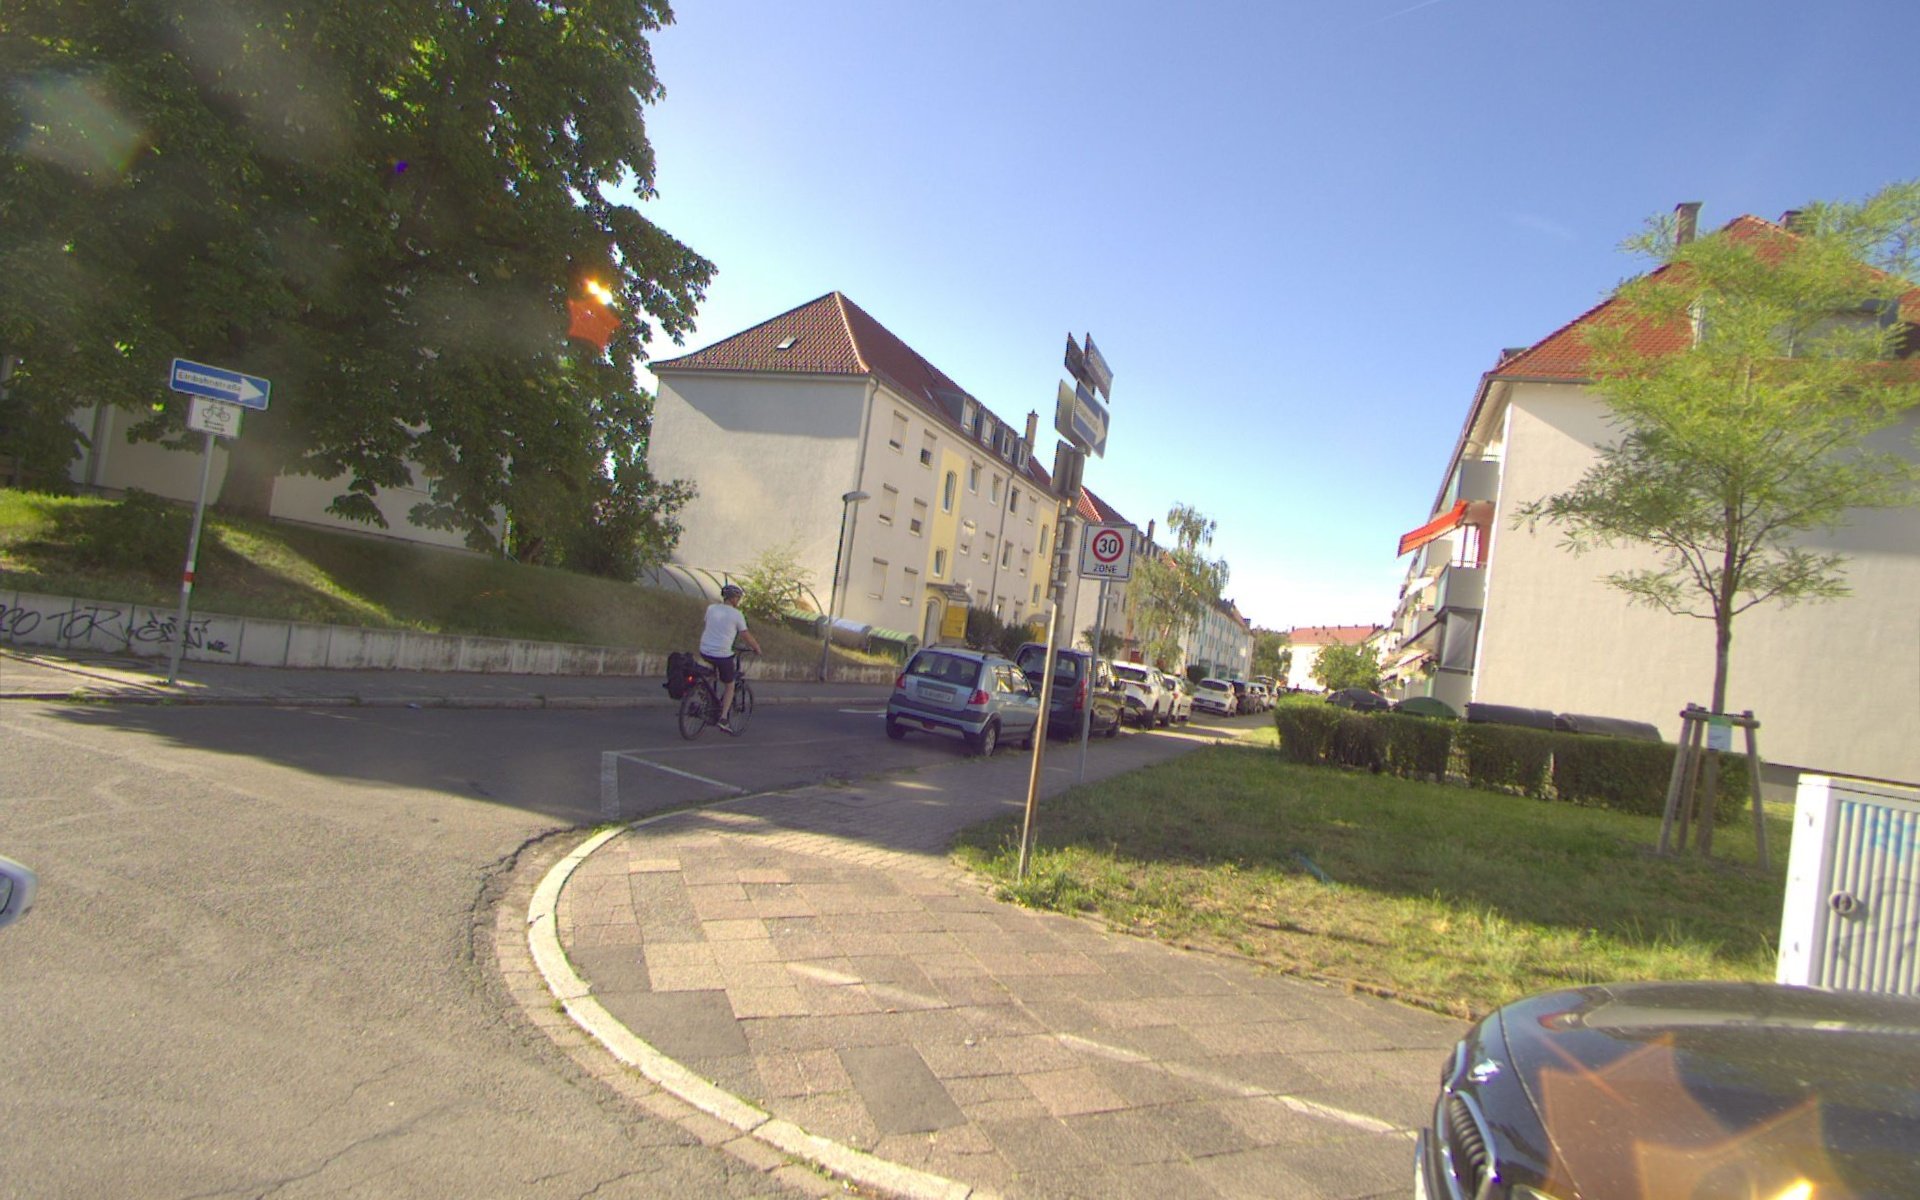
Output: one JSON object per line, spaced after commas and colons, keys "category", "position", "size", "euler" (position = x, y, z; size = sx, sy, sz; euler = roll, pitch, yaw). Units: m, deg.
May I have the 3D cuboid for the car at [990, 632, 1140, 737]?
{"category": "car", "position": [2.341, 1.798, 21.289], "size": [1.835, 1.750, 4.298], "euler": [7, -2, 22]}

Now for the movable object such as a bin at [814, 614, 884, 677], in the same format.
{"category": "movable object such as a bin", "position": [-3.315, 1.364, 30.152], "size": [1.476, 1.641, 1.264], "euler": [7, -2, 22]}

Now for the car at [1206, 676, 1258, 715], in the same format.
{"category": "car", "position": [13.204, 4.624, 48.709], "size": [1.807, 1.575, 4.003], "euler": [7, -2, 22]}

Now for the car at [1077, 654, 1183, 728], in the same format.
{"category": "car", "position": [4.799, 2.521, 27.833], "size": [1.953, 1.610, 4.128], "euler": [7, -2, 21]}

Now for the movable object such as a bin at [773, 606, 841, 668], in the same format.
{"category": "movable object such as a bin", "position": [-4.655, 1.132, 30.683], "size": [1.437, 1.632, 1.192], "euler": [7, -2, 22]}

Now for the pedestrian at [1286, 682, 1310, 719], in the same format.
{"category": "pedestrian", "position": [20.195, 6.027, 60.135], "size": [1.025, 2.036, 1.023], "euler": [7, -2, 24]}

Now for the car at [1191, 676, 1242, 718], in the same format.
{"category": "car", "position": [11.299, 4.255, 44.164], "size": [1.606, 1.507, 3.626], "euler": [9, -2, 21]}

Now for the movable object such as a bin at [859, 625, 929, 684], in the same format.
{"category": "movable object such as a bin", "position": [-1.942, 1.628, 29.668], "size": [1.469, 1.495, 1.265], "euler": [7, -2, 22]}

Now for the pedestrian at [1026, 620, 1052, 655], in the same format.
{"category": "pedestrian", "position": [4.387, 2.090, 55.865], "size": [0.956, 1.735, 0.947], "euler": [7, -1, 22]}

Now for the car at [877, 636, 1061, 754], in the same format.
{"category": "car", "position": [0.285, 1.504, 16.199], "size": [1.628, 1.445, 3.904], "euler": [7, -2, 20]}

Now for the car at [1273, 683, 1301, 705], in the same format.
{"category": "car", "position": [27.580, 7.928, 84.770], "size": [1.779, 1.622, 4.407], "euler": [7, -2, 22]}

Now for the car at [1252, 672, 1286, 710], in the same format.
{"category": "car", "position": [20.345, 6.003, 66.200], "size": [1.595, 2.168, 4.003], "euler": [7, -2, 22]}

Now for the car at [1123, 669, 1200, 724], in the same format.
{"category": "car", "position": [6.658, 3.169, 33.005], "size": [1.730, 1.448, 3.632], "euler": [8, -2, 21]}

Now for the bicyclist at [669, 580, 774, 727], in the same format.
{"category": "bicyclist", "position": [-2.819, 0.648, 11.961], "size": [0.683, 1.614, 0.792], "euler": [7, -2, 21]}

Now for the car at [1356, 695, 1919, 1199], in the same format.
{"category": "car", "position": [3.048, 1.243, 1.526], "size": [4.416, 1.499, 1.965], "euler": [7, -1, 22]}

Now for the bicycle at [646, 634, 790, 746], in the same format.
{"category": "bicycle", "position": [-2.847, 1.078, 12.029], "size": [0.650, 1.140, 1.767], "euler": [8, -2, 21]}

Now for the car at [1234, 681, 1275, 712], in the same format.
{"category": "car", "position": [17.854, 5.841, 60.914], "size": [1.865, 1.513, 4.095], "euler": [7, -2, 22]}

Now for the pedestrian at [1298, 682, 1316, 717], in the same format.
{"category": "pedestrian", "position": [21.670, 6.200, 62.792], "size": [0.779, 2.037, 1.083], "euler": [7, -1, 22]}
